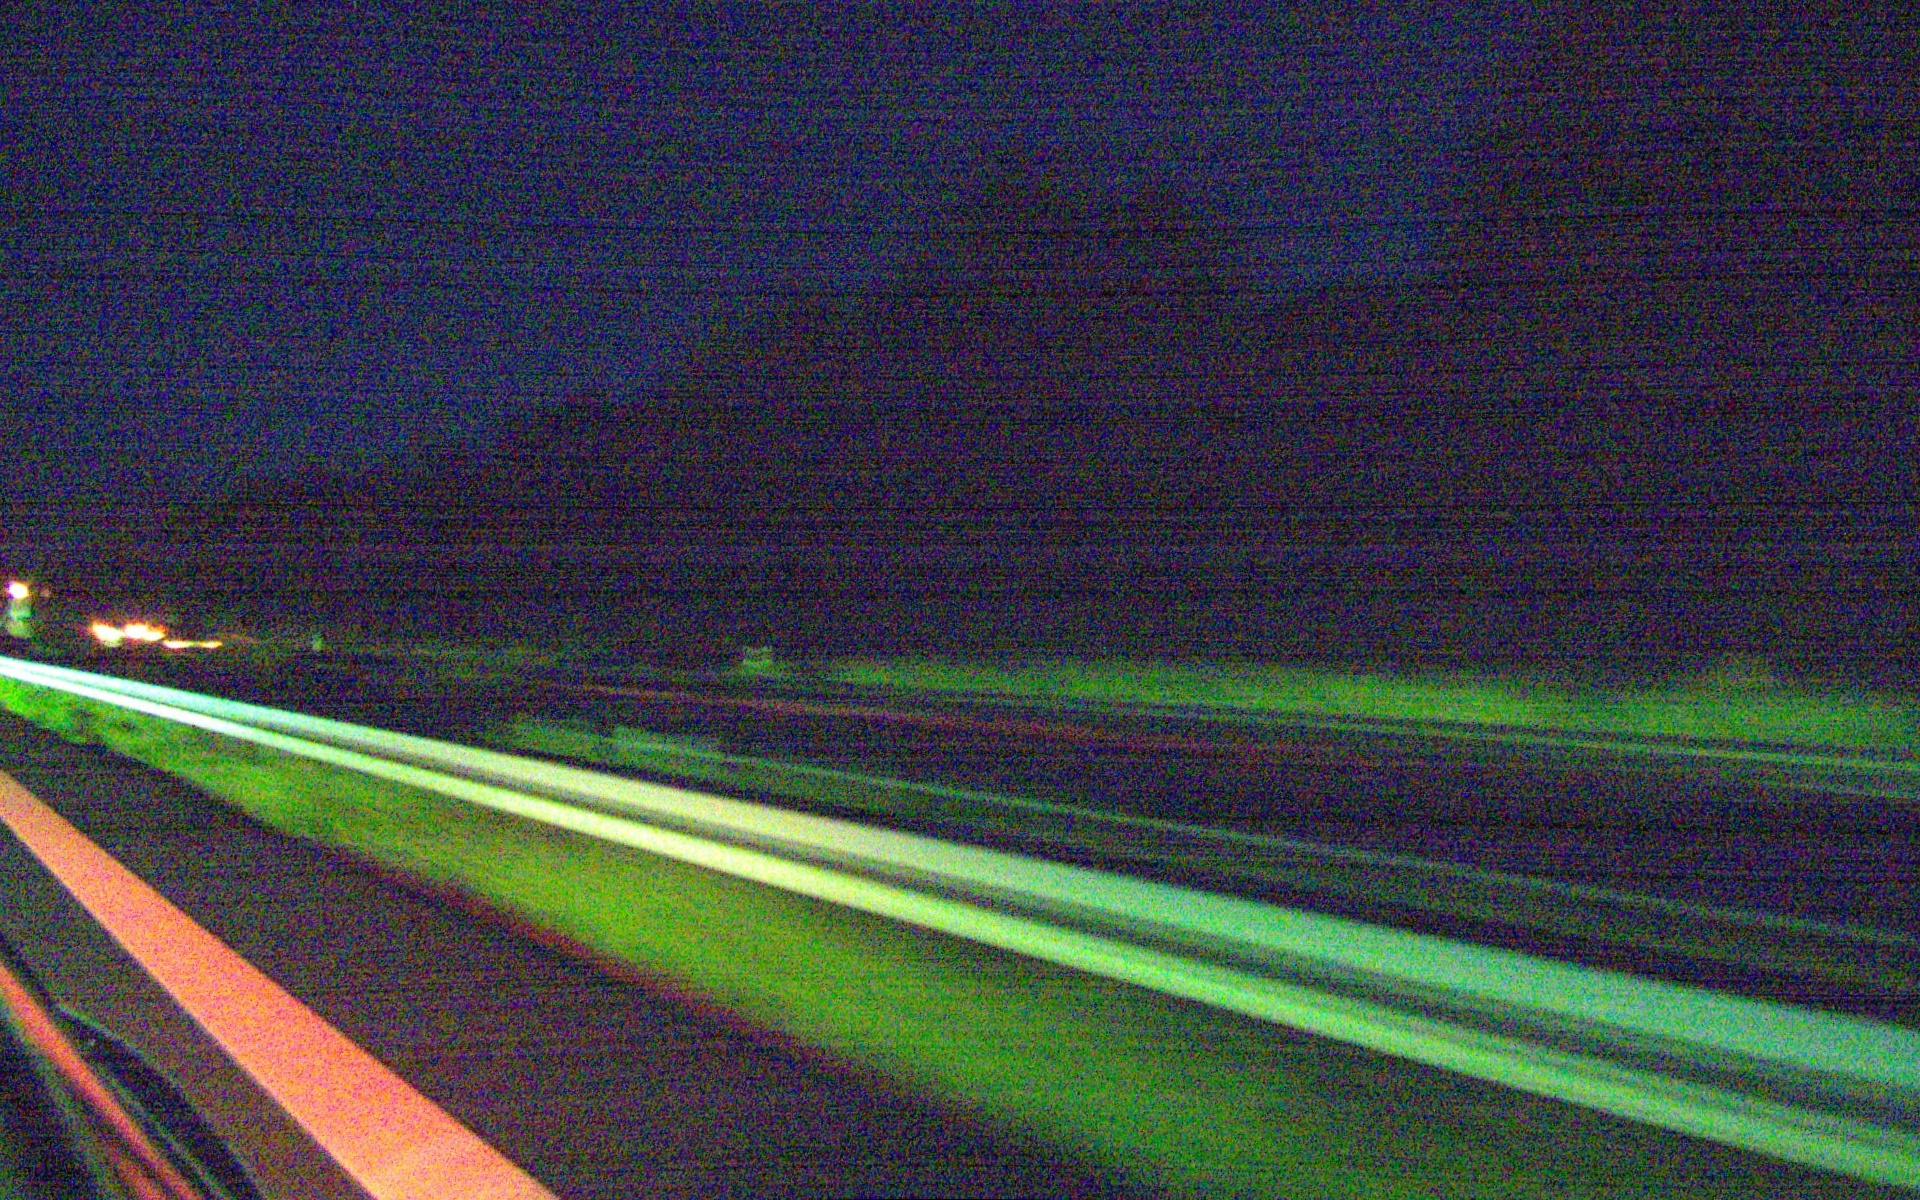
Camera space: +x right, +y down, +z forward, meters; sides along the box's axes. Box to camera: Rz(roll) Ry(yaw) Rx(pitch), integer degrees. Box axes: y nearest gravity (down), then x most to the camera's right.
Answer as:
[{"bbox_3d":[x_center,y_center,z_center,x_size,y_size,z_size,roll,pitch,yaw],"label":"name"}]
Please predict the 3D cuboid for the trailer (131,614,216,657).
[{"bbox_3d":[-37.727,1.674,48.467,6.619,1.955,1.972,-1,-2,41],"label":"trailer"}]

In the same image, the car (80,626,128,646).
[{"bbox_3d":[-64.750,2.721,76.568,4.796,1.496,1.973,-1,-3,40],"label":"car"}]

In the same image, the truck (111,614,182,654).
[{"bbox_3d":[-42.144,1.742,52.393,5.238,1.957,1.972,-1,-2,42],"label":"truck"}]
